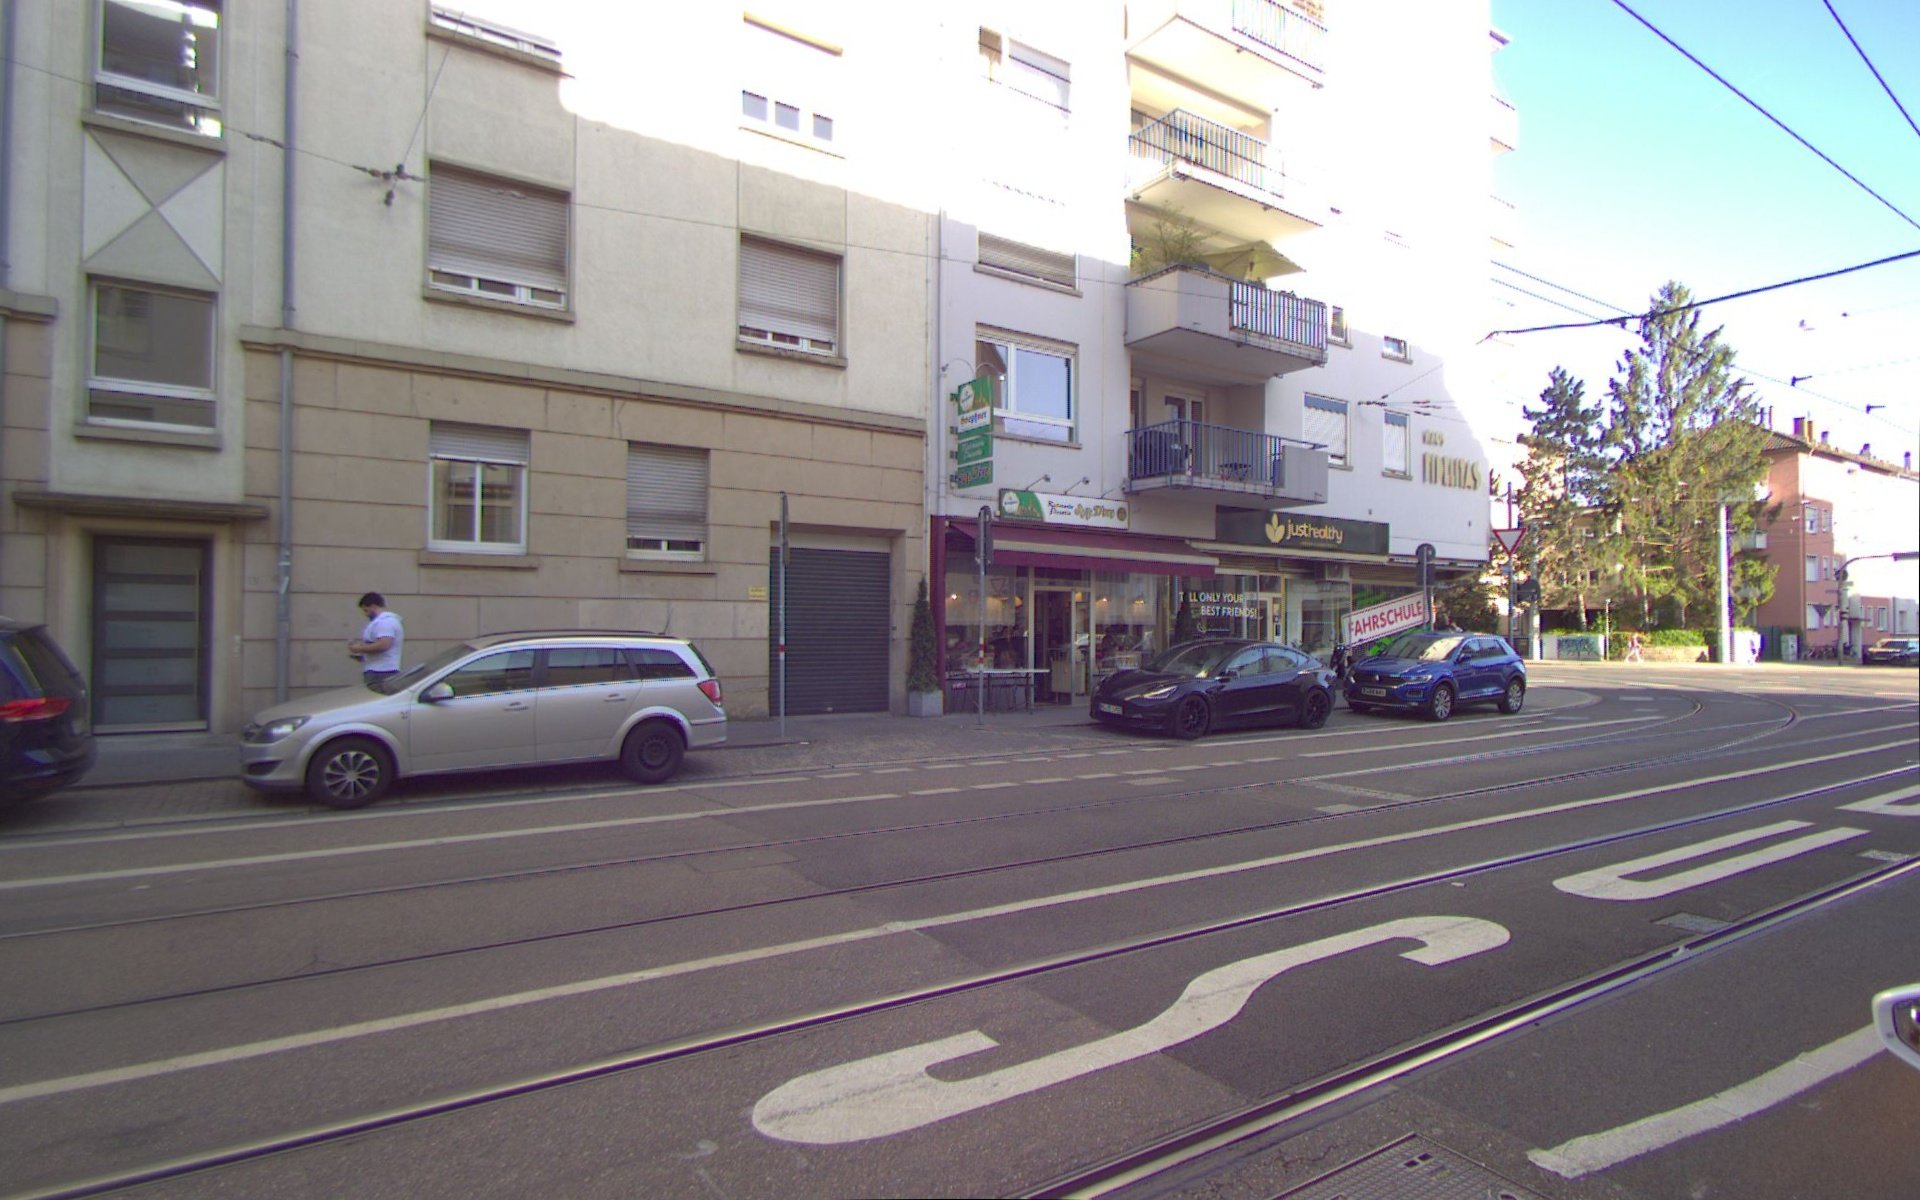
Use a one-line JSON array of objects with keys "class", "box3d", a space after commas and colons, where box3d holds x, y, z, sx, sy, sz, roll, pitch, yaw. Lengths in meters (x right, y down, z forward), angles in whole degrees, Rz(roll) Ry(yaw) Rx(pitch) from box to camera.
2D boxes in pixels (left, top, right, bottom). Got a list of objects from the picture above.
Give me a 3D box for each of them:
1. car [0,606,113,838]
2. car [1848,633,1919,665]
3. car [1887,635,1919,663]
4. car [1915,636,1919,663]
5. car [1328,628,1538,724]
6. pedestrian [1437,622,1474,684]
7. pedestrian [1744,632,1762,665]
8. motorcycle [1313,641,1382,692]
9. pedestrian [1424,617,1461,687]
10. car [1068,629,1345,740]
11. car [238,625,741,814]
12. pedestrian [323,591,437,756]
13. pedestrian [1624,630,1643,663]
[{"class": "car", "box3d": [-8.982, 0.864, 7.171, 4.282, 1.655, 1.802, 2, 1, -35]}, {"class": "car", "box3d": [49.729, 2.646, 53.883, 4.397, 1.450, 2.140, 4, -1, -35]}, {"class": "car", "box3d": [54.410, 2.793, 56.804, 4.057, 1.456, 1.893, 2, 0, -32]}, {"class": "car", "box3d": [58.327, 2.973, 59.407, 4.185, 1.546, 1.731, 2, 0, -34]}, {"class": "car", "box3d": [8.980, 1.345, 18.967, 4.196, 1.524, 1.757, 0, 1, -36]}, {"class": "pedestrian", "box3d": [14.753, 1.559, 29.916, 0.653, 1.816, 0.733, 1, -1, -27]}, {"class": "pedestrian", "box3d": [40.018, 2.445, 50.695, 0.507, 1.589, 0.574, 2, 0, 14]}, {"class": "motorcycle", "box3d": [9.224, 1.566, 23.906, 1.778, 1.149, 0.603, 2, 0, -34]}, {"class": "pedestrian", "box3d": [13.678, 1.462, 28.478, 0.727, 1.925, 0.573, 3, -2, -15]}, {"class": "car", "box3d": [4.000, 1.264, 16.055, 4.398, 1.494, 1.759, 2, 0, -33]}, {"class": "car", "box3d": [-4.605, 1.060, 10.185, 4.327, 1.474, 1.714, 2, 1, -35]}, {"class": "pedestrian", "box3d": [-6.613, 0.808, 11.460, 0.998, 1.791, 0.656, 2, 0, -40]}, {"class": "pedestrian", "box3d": [35.846, 2.469, 53.464, 0.772, 1.744, 0.702, 2, 0, 37]}]
